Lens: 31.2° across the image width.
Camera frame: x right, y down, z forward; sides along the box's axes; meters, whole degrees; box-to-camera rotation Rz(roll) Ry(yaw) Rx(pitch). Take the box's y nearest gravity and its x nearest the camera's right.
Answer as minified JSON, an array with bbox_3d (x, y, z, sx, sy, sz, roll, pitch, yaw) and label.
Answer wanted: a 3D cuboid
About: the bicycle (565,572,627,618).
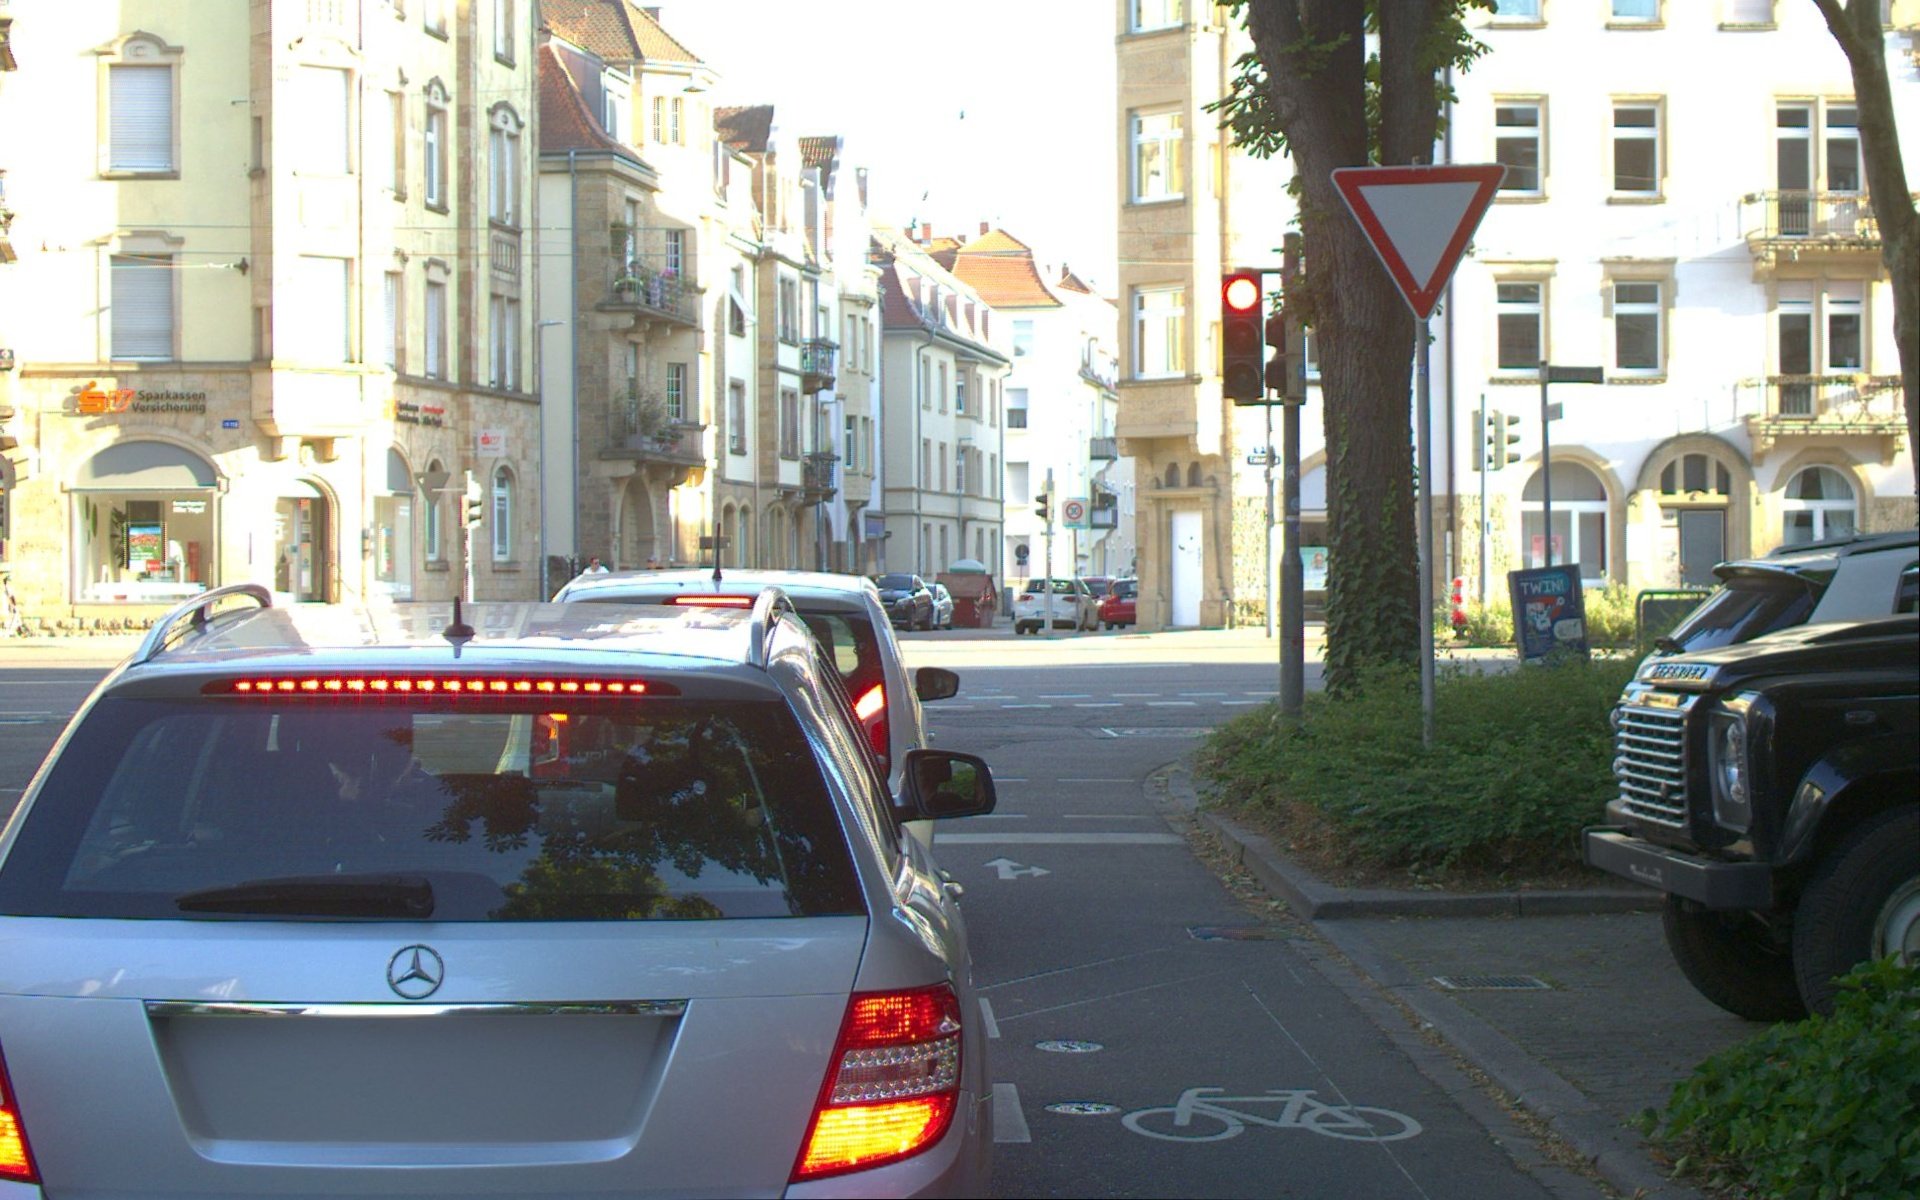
[{"bbox_3d":[-7.761,-0.104,73.378,0.771,0.936,1.939,1,1,11],"label":"bicycle"}]

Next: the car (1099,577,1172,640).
[{"bbox_3d":[5.227,0.229,101.924,1.835,1.738,3.999,0,1,8],"label":"car"}]

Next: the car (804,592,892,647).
[{"bbox_3d":[-3.150,0.534,97.033,1.835,1.397,3.999,0,1,8],"label":"car"}]

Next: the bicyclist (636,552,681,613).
[{"bbox_3d":[-6.436,-0.388,73.462,0.771,1.285,0.752,1,1,11],"label":"bicyclist"}]

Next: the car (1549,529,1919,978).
[{"bbox_3d":[4.298,0.500,13.083,3.723,1.564,1.709,-1,0,-4],"label":"car"}]

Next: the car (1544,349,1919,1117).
[{"bbox_3d":[4.143,0.300,10.113,4.465,2.029,1.701,-1,0,-3],"label":"car"}]

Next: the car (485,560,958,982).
[{"bbox_3d":[-0.907,0.569,14.043,1.619,1.442,4.345,0,1,-2],"label":"car"}]

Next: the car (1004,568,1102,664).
[{"bbox_3d":[2.350,0.362,85.891,2.031,2.272,3.999,0,1,8],"label":"car"}]

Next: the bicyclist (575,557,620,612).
[{"bbox_3d":[-7.743,-0.326,73.453,0.771,1.152,0.752,1,1,11],"label":"bicyclist"}]

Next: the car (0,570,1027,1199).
[{"bbox_3d":[-0.890,0.679,6.953,1.777,1.447,4.548,0,1,-2],"label":"car"}]

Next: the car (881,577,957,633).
[{"bbox_3d":[-1.270,0.131,108.753,1.835,1.657,3.999,0,1,8],"label":"car"}]

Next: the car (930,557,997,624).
[{"bbox_3d":[0.139,-0.339,117.341,1.787,2.196,3.999,0,1,8],"label":"car"}]

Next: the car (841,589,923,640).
[{"bbox_3d":[-2.316,0.407,102.524,1.835,1.397,3.999,0,1,8],"label":"car"}]

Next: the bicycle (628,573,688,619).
[{"bbox_3d":[-6.437,-0.095,73.466,0.771,0.931,1.939,1,1,11],"label":"bicycle"}]
